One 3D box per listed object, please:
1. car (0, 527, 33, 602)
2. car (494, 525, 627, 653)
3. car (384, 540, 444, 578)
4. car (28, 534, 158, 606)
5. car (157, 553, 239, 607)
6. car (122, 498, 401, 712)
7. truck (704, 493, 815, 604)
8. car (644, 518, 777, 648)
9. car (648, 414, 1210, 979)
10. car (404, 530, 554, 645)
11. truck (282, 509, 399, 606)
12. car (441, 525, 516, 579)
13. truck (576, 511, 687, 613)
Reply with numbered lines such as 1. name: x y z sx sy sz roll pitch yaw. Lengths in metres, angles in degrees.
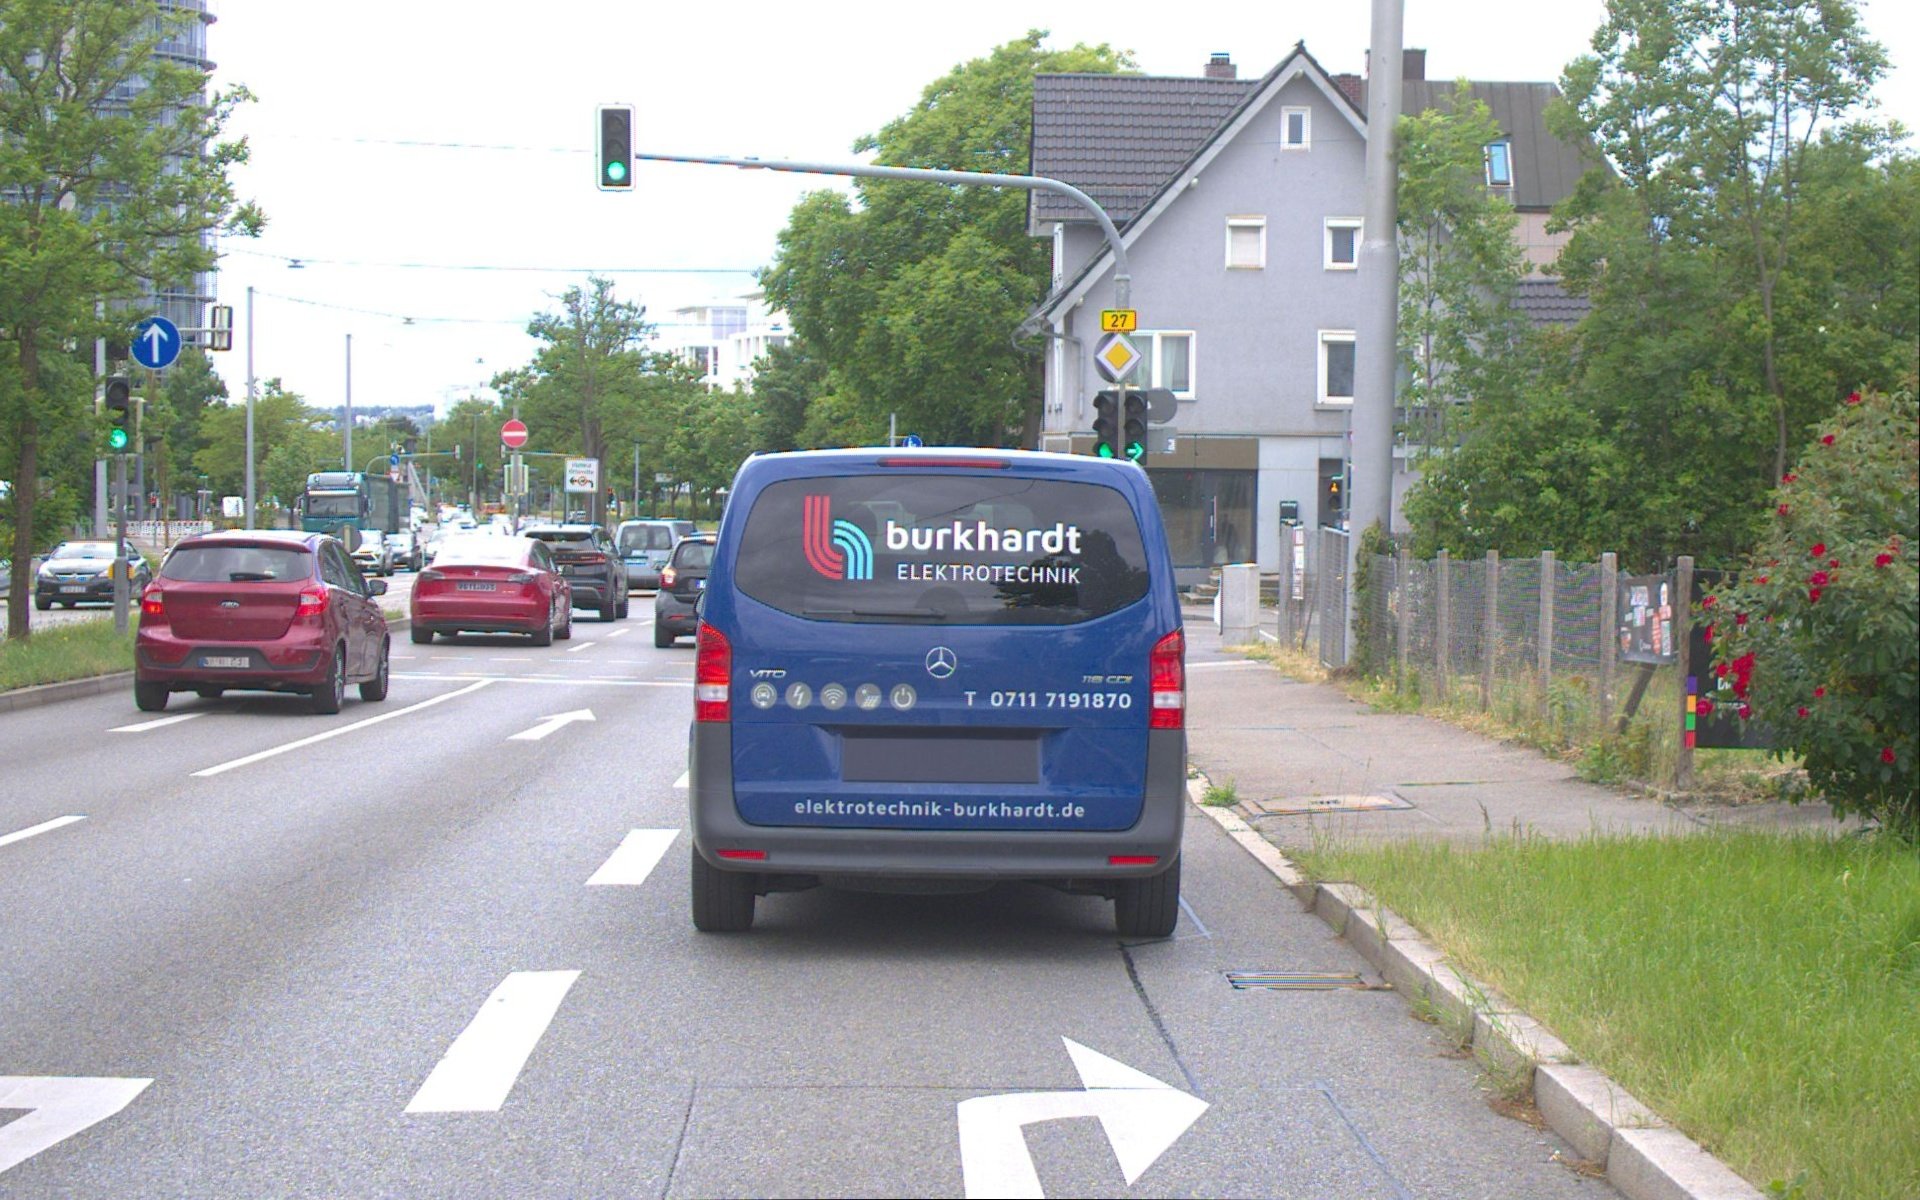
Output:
1. car: -20.841 -0.759 72.303 1.624 1.568 4.000 0 1 0
2. car: -6.911 -0.220 59.127 1.993 2.006 4.001 2 2 -10
3. car: -20.716 -1.561 130.553 1.797 1.412 4.000 0 1 -2
4. car: -17.849 -0.631 70.949 1.813 1.393 5.012 -1 1 -5
5. car: -23.002 -0.618 103.892 1.732 1.568 4.507 0 1 -4
6. car: -5.964 -0.001 29.754 1.746 1.717 4.001 0 1 -2
7. truck: -4.165 -1.091 72.203 1.993 2.158 5.559 3 1 -1
8. car: -3.440 -0.262 47.482 1.746 1.717 4.001 0 1 -4
9. car: -0.127 0.310 14.456 1.948 1.959 4.542 1 1 0
10. car: -6.535 -0.195 46.399 1.868 1.481 4.001 0 1 -10
11. truck: -25.063 -1.747 139.728 3.367 3.714 11.282 1 1 -4
12. car: -18.126 -1.816 129.589 1.994 2.007 4.179 0 1 3
13. truck: -7.457 -0.880 78.420 1.993 2.158 5.559 3 1 -1
